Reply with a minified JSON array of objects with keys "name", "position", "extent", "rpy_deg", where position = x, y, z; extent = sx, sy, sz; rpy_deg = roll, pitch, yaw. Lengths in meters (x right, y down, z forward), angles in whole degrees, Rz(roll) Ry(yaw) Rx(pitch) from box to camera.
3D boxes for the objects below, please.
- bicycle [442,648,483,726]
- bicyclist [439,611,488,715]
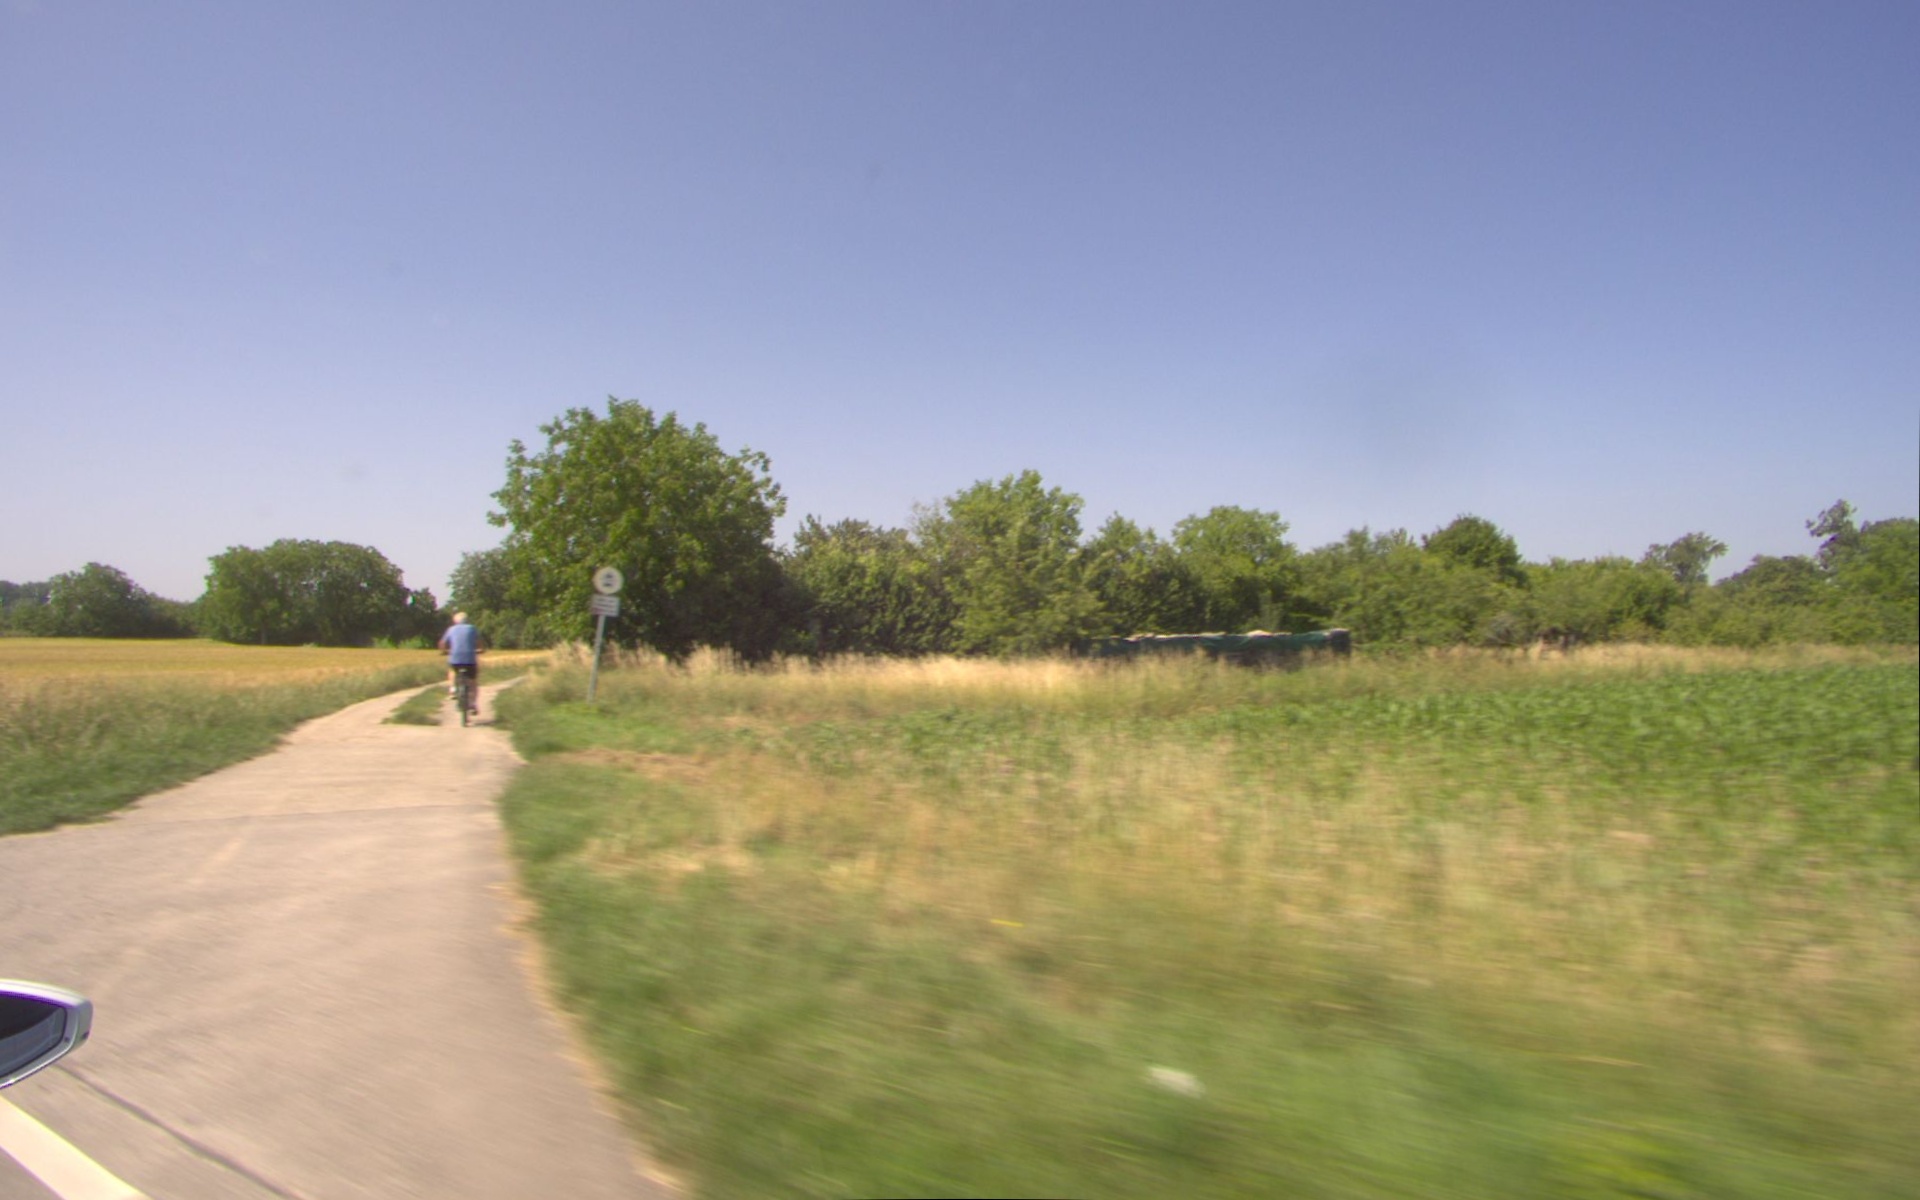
[{"name":"bicycle","position":[-7.831,1.336,15.797],"extent":[0.513,1.130,1.763],"rpy_deg":[0,-1,-24]},{"name":"bicyclist","position":[-7.839,0.984,15.819],"extent":[0.664,1.594,0.733],"rpy_deg":[0,-1,-25]}]
